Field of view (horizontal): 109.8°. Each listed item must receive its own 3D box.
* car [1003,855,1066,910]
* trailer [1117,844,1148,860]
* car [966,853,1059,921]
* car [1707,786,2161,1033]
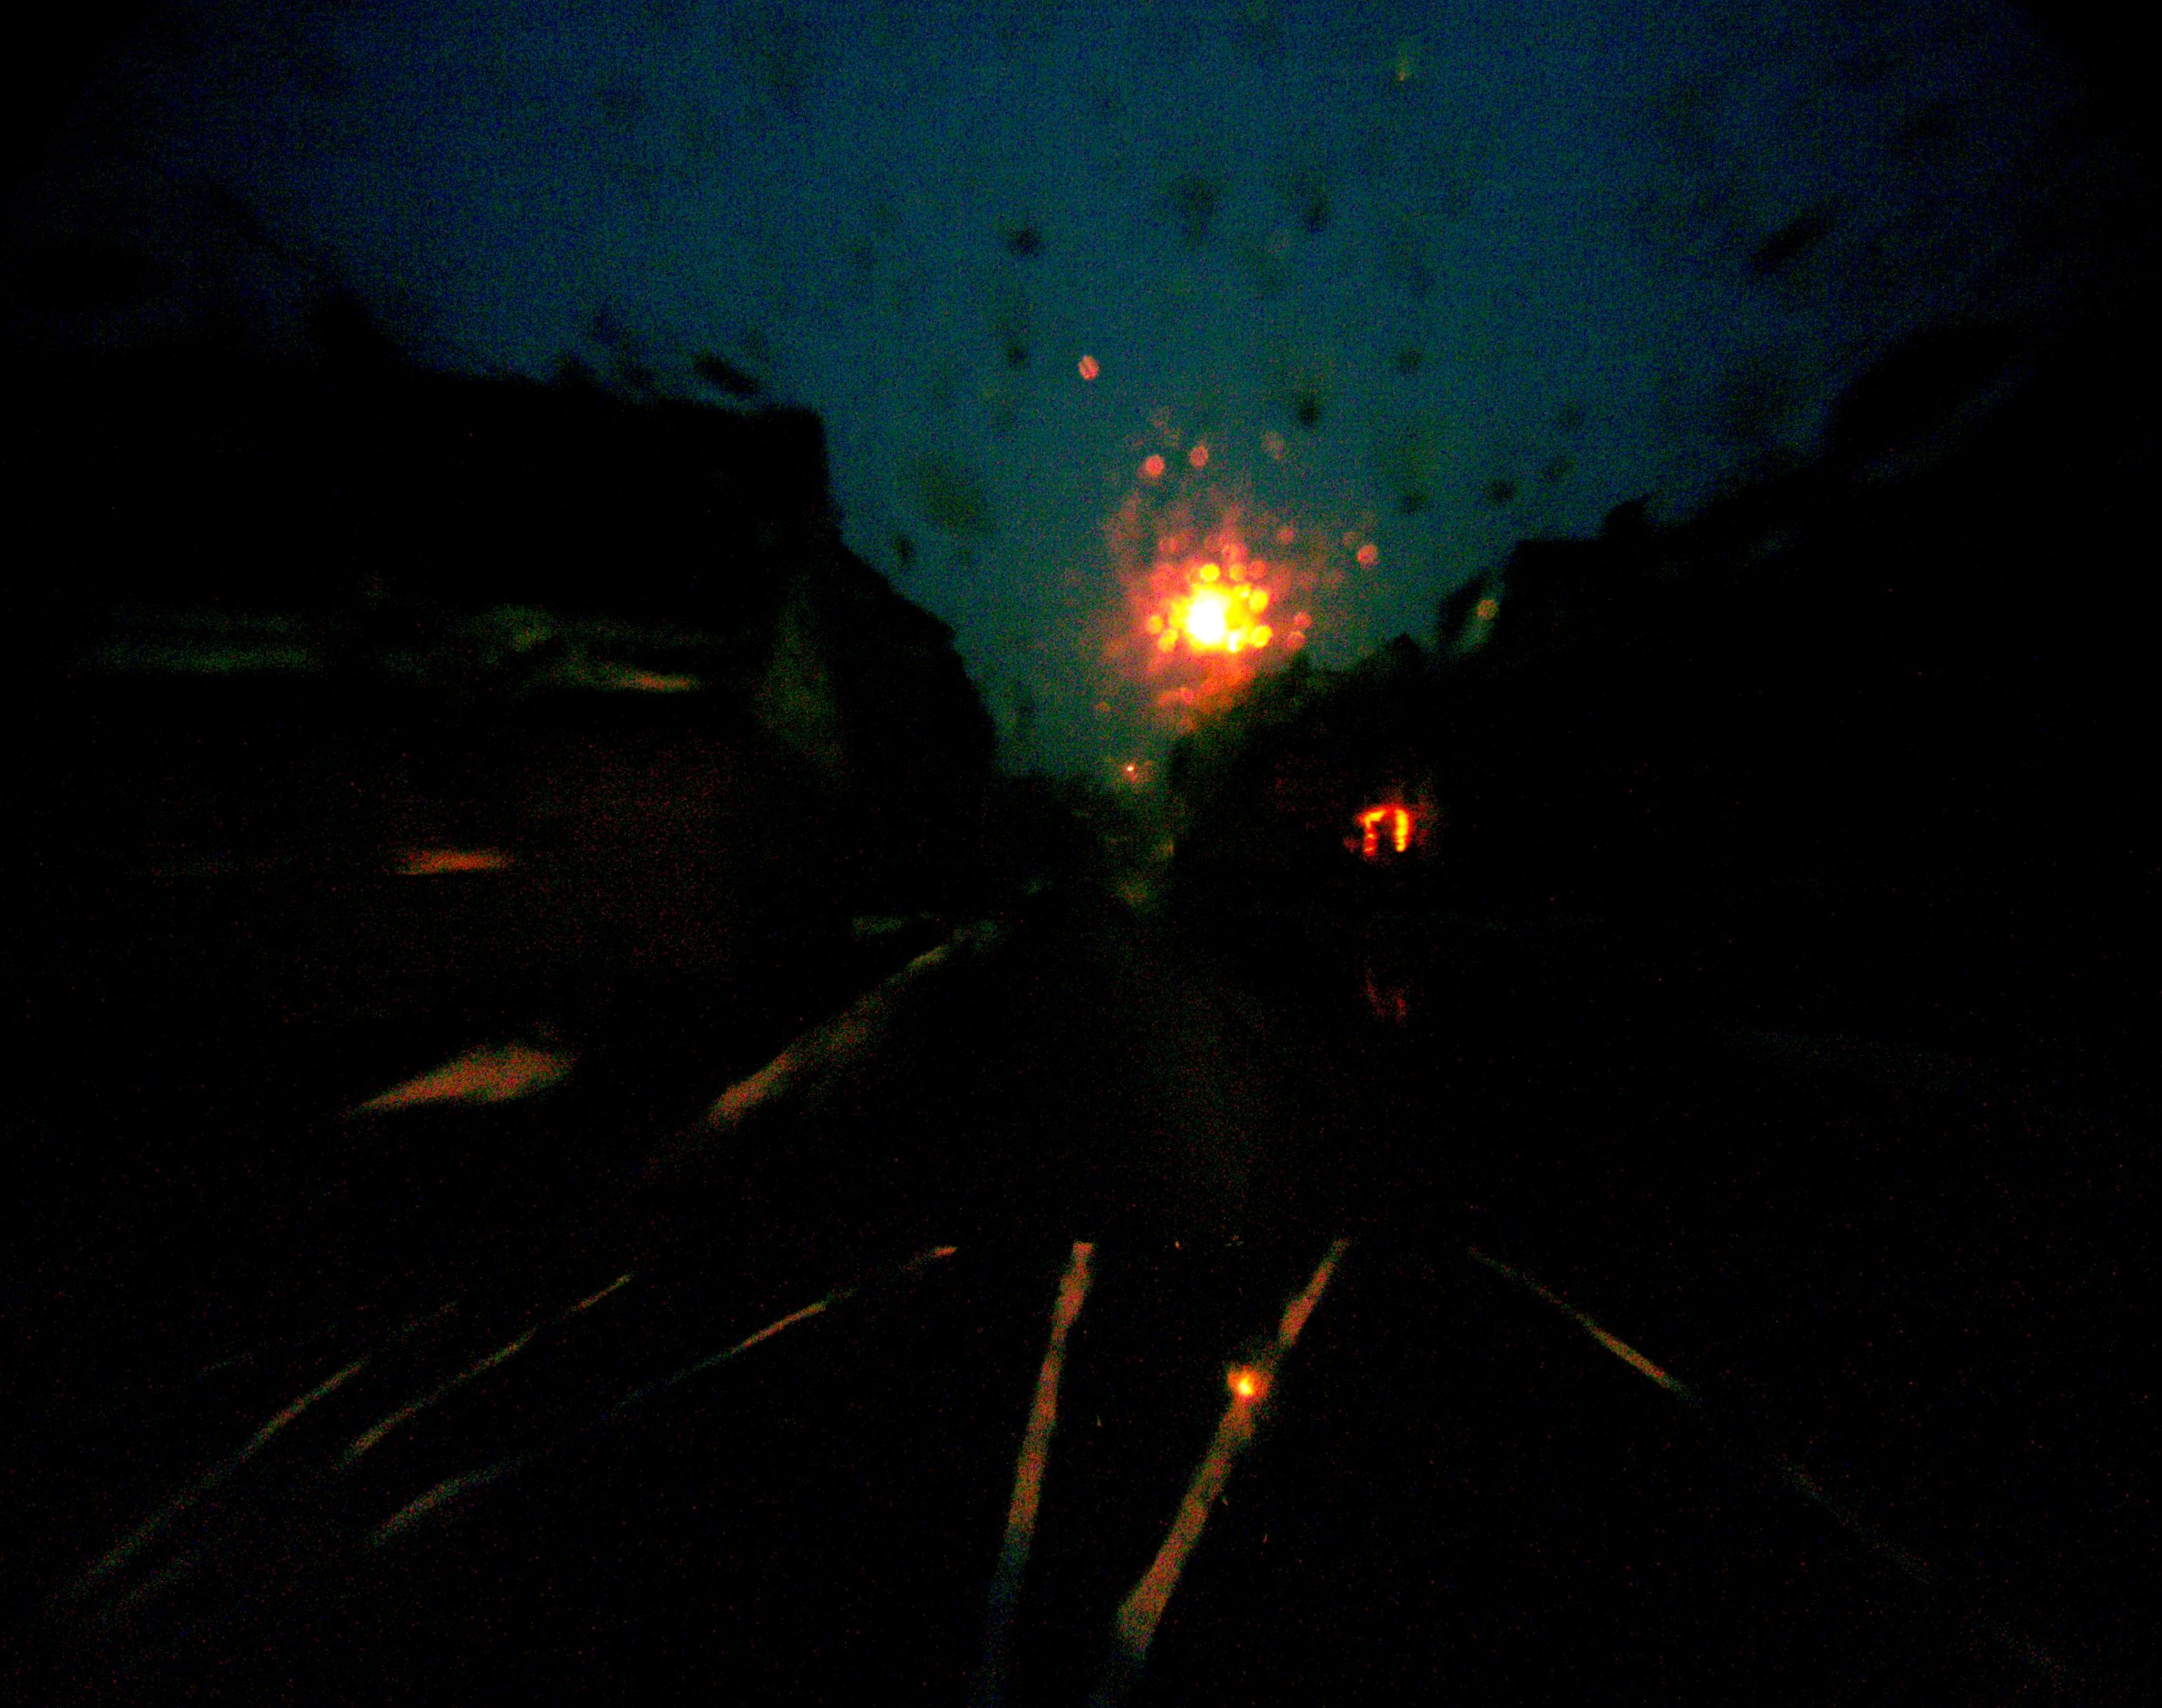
[{"bbox_3d":[-1.456,0.875,25.048,1.721,1.491,3.906,-2,1,1],"label":"car"},{"bbox_3d":[5.179,-0.249,75.705,1.996,1.380,4.736,-3,1,17],"label":"trailer"},{"bbox_3d":[-1.662,0.769,19.889,1.915,1.472,4.281,-1,1,1],"label":"car"},{"bbox_3d":[8.469,0.370,6.519,1.770,1.726,4.636,-6,0,-10],"label":"car"}]
